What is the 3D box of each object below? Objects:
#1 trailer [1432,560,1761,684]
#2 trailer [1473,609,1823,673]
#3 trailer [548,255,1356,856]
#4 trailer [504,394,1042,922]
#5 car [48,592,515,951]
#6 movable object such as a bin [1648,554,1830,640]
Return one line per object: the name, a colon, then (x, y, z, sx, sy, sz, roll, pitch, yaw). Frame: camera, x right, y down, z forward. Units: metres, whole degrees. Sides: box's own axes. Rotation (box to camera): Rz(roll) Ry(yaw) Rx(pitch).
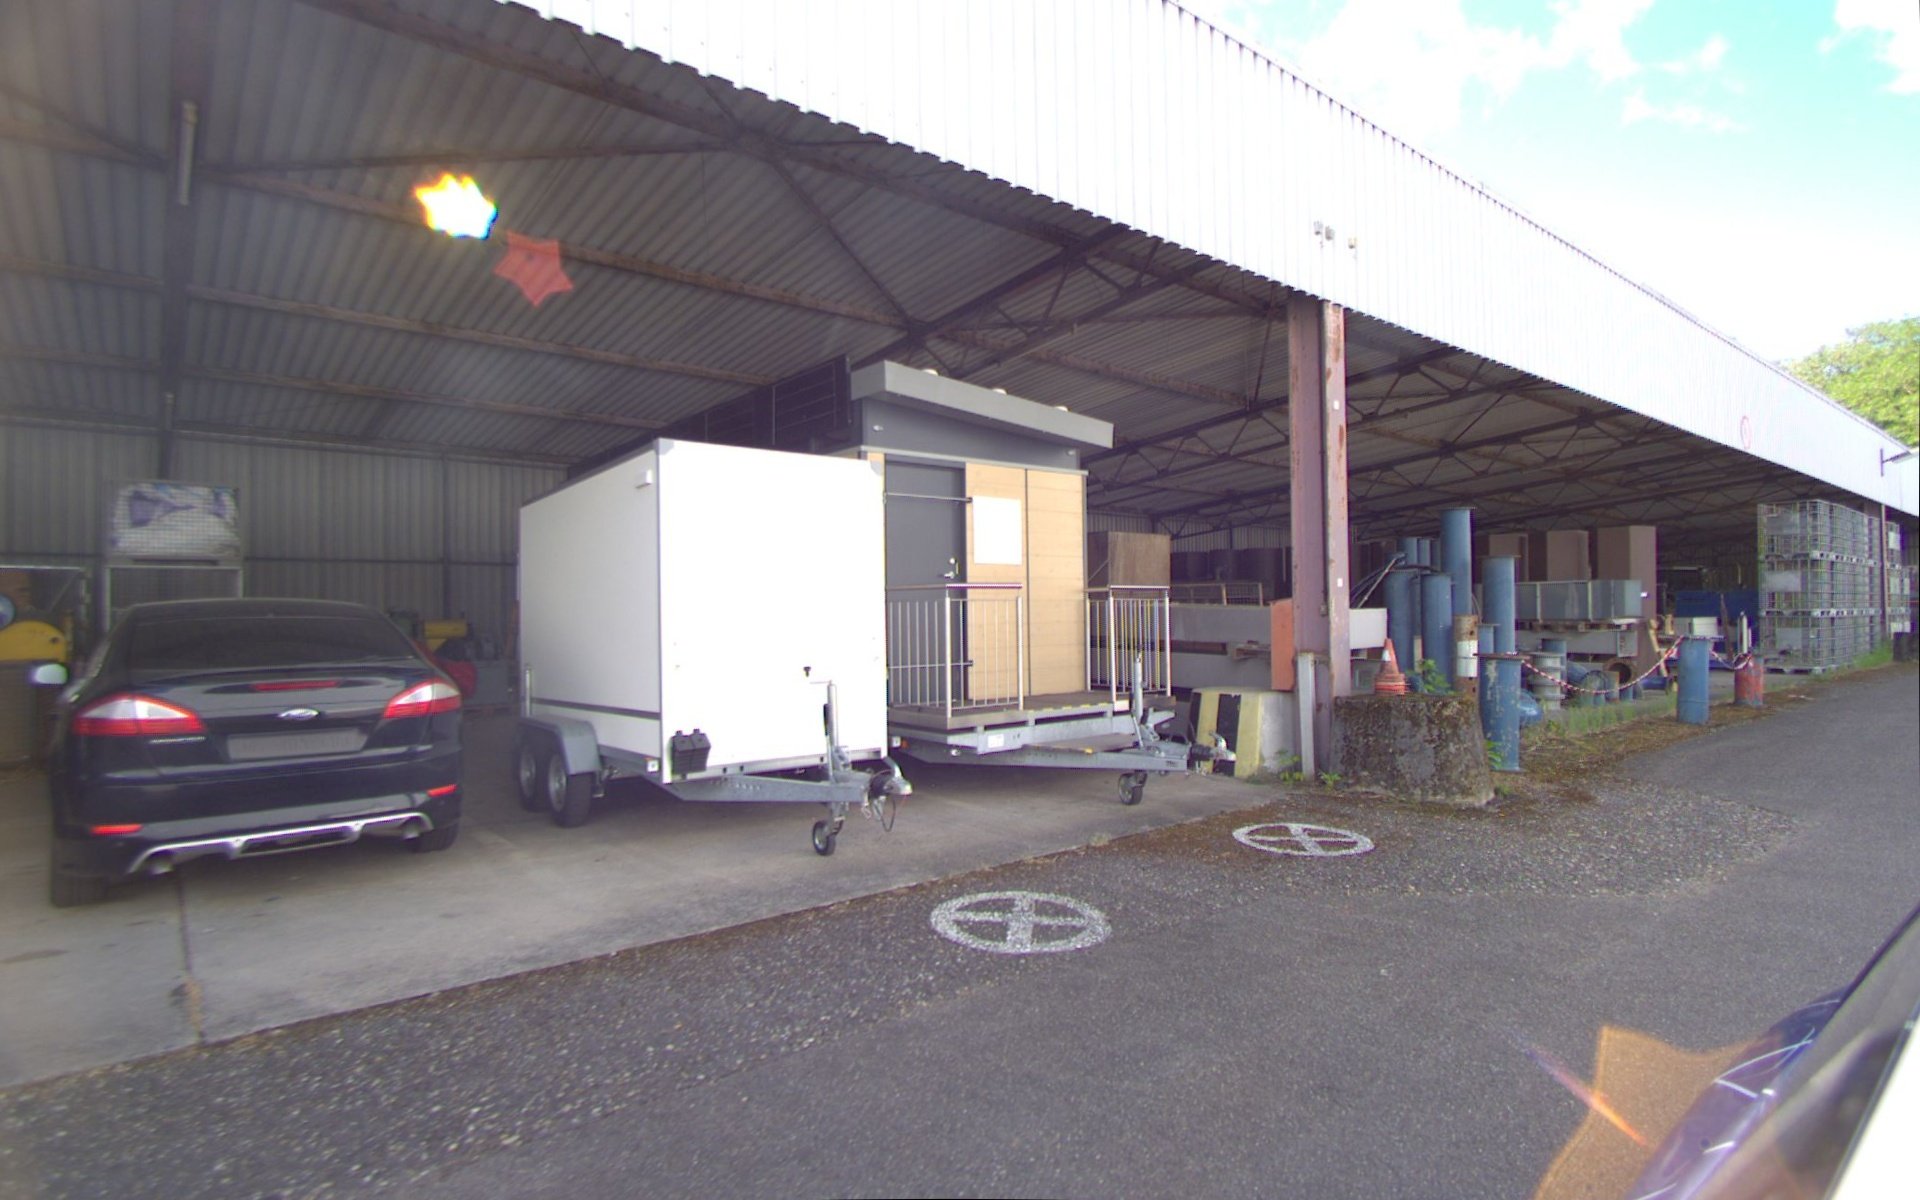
trailer: (11.705, 0.338, 18.948, 2.009, 2.022, 4.831, 0, 0, -36)
trailer: (14.117, 0.784, 21.167, 1.974, 1.147, 5.743, 0, -1, -40)
trailer: (-1.366, -0.281, 10.498, 2.627, 3.337, 10.317, 0, 0, -38)
trailer: (-1.600, 0.244, 6.842, 1.658, 2.364, 4.552, 0, 0, -38)
car: (-4.496, 0.684, 6.365, 1.833, 1.451, 4.349, -1, 1, -42)
movable object such as a bin: (26.475, -0.086, 34.524, 1.965, 2.757, 4.622, 2, -1, -41)
